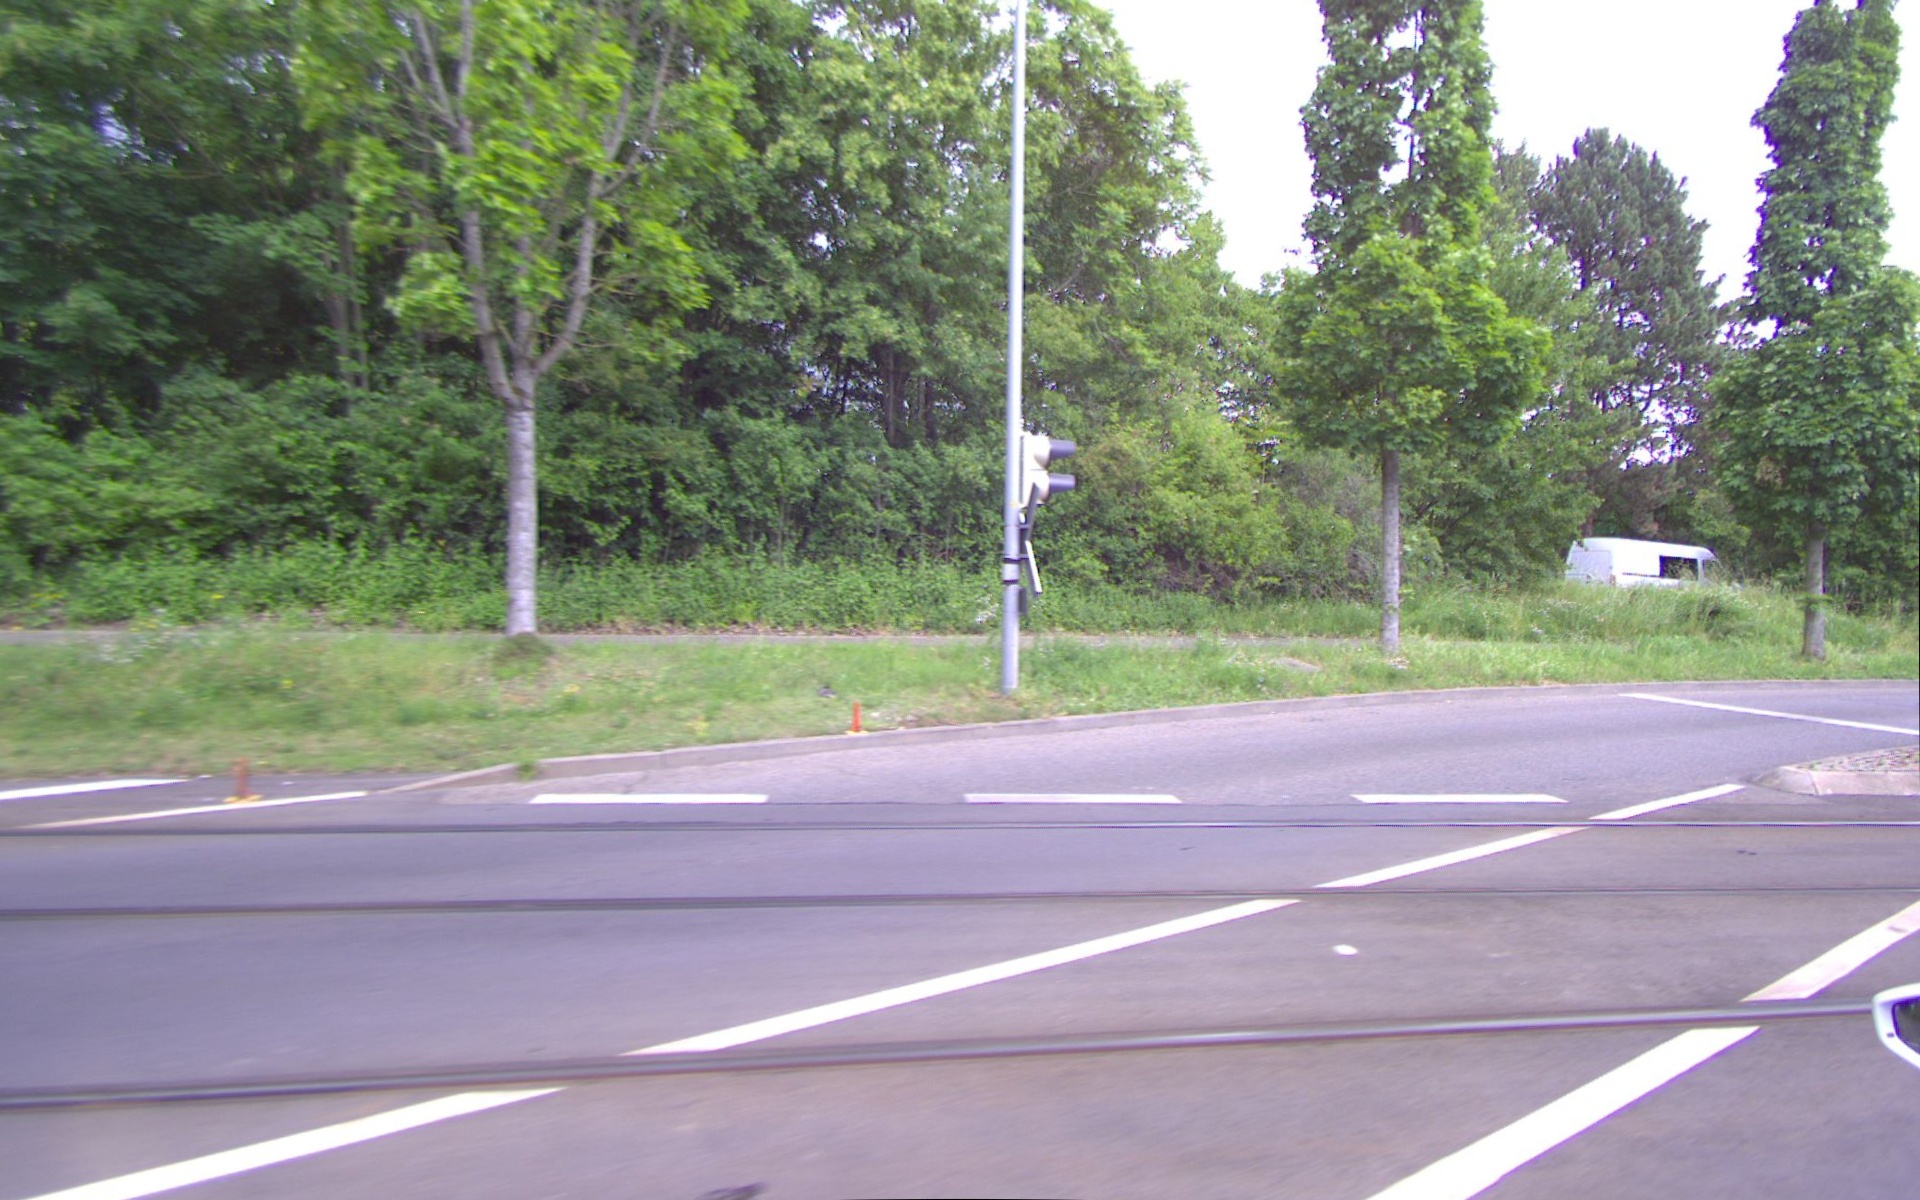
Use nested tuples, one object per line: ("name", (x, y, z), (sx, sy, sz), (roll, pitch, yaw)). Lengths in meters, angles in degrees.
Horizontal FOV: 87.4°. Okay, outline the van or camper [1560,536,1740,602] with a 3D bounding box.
("van or camper", (21.605, -0.954, 31.524), (4.547, 1.902, 1.996), (1, 1, -11))
